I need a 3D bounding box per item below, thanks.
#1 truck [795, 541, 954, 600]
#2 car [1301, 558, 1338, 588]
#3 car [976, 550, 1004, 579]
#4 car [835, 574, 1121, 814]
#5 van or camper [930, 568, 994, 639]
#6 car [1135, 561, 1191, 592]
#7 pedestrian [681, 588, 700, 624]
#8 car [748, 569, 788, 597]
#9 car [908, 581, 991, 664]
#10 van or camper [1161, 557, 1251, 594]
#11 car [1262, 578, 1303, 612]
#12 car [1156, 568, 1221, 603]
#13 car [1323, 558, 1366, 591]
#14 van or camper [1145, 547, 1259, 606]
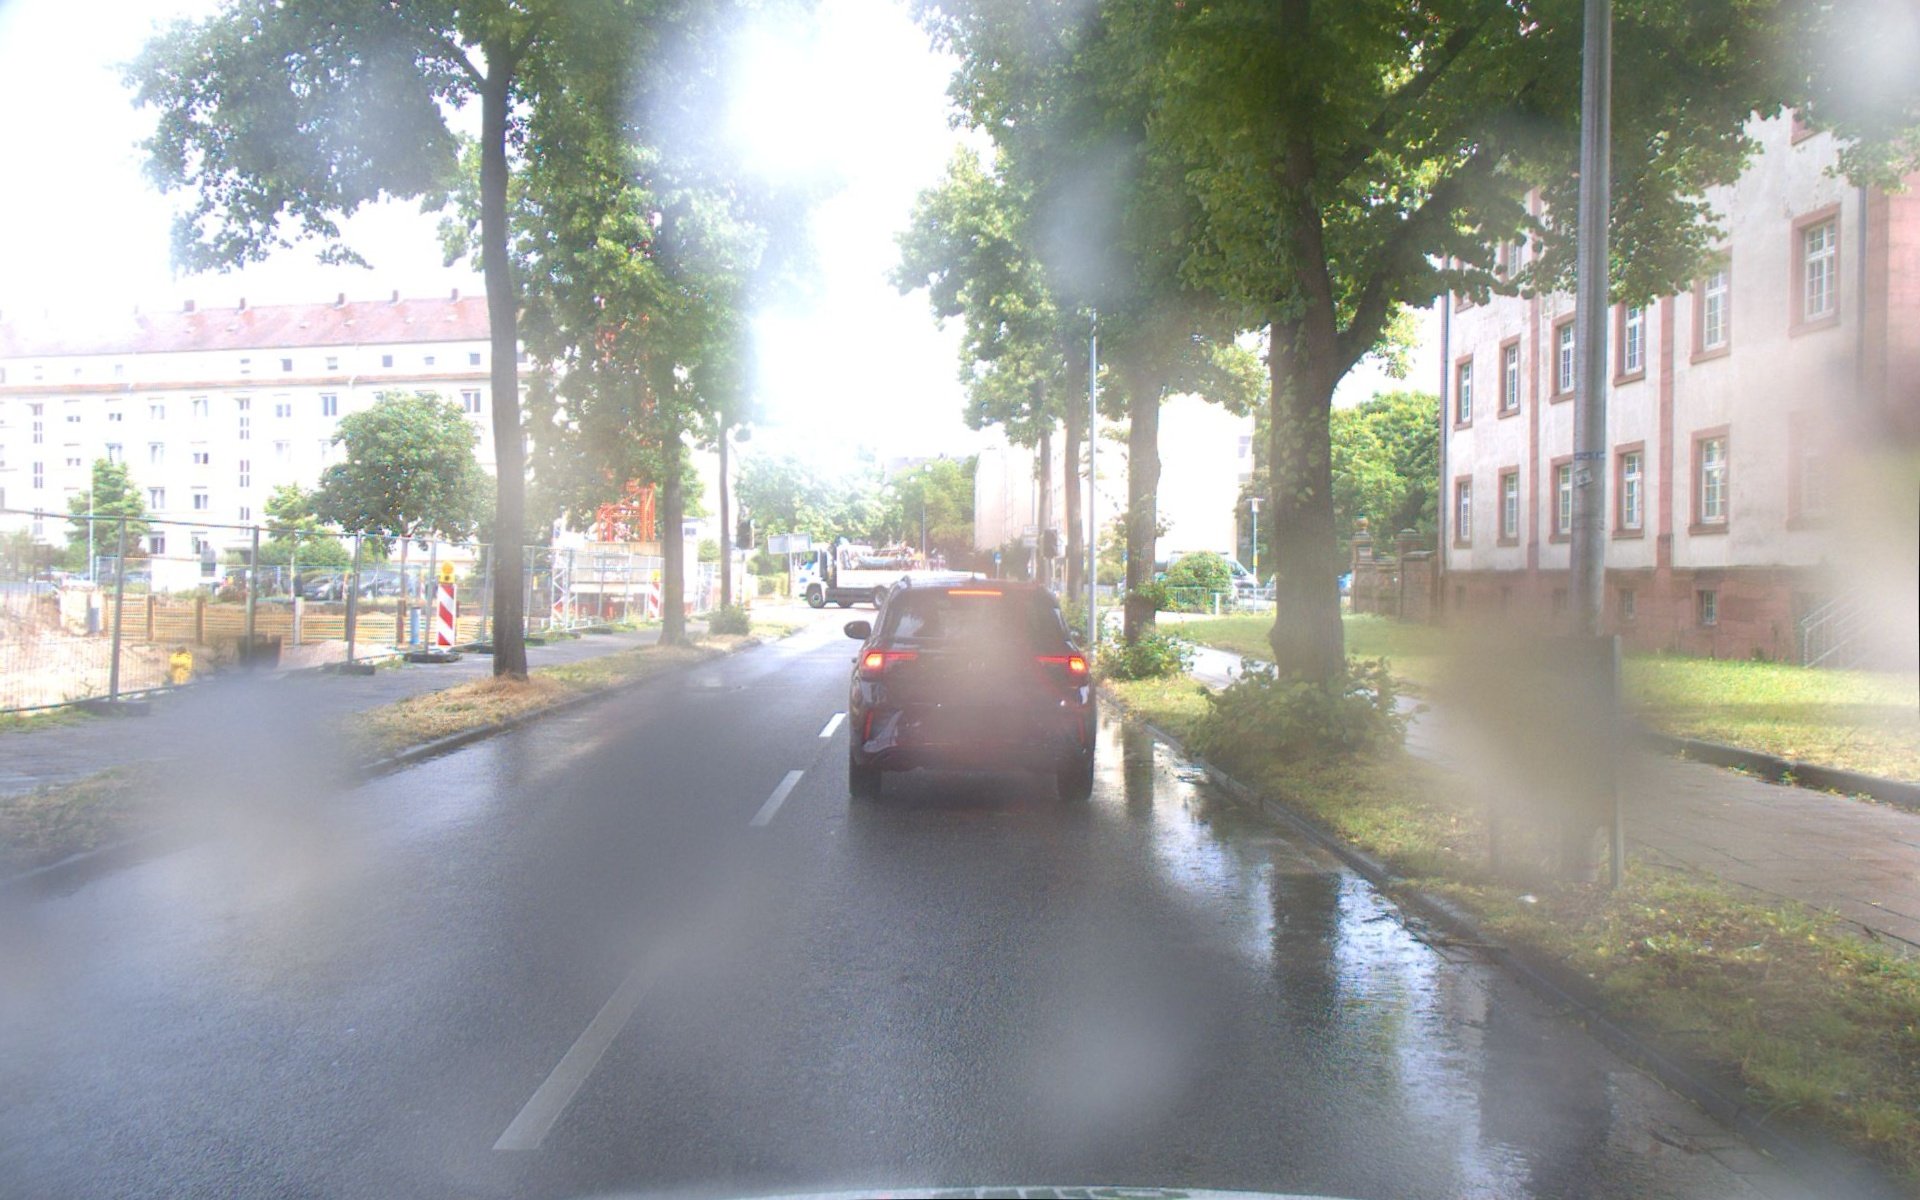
[{"bbox_3d":[-4.212,-1.471,80.242,8.093,2.702,2.798,2,2,42],"label":"truck"},{"bbox_3d":[24.165,-1.811,111.320,1.828,1.889,3.812,-3,1,3],"label":"car"},{"bbox_3d":[2.166,-2.602,121.857,1.953,2.049,3.999,0,0,-1],"label":"car"},{"bbox_3d":[0.088,0.589,12.860,1.856,1.549,3.999,1,1,-1],"label":"car"},{"bbox_3d":[0.100,0.065,49.040,1.782,1.981,4.195,1,1,1],"label":"van or camper"},{"bbox_3d":[12.752,-1.468,103.765,3.334,1.812,1.761,-3,0,8],"label":"car"},{"bbox_3d":[-11.511,0.268,70.646,0.652,1.511,0.667,0,1,-25],"label":"pedestrian"},{"bbox_3d":[-11.567,-1.042,99.812,1.557,1.538,3.734,-3,1,5],"label":"car"},{"bbox_3d":[-0.193,0.490,37.816,1.645,1.738,3.911,-2,0,2],"label":"car"},{"bbox_3d":[13.913,-1.406,93.849,4.775,1.959,2.131,1,1,0],"label":"van or camper"},{"bbox_3d":[17.461,-0.291,89.658,1.706,1.713,3.873,-3,1,5],"label":"car"},{"bbox_3d":[12.193,-0.768,88.443,3.335,1.812,1.761,-1,1,6],"label":"car"},{"bbox_3d":[25.192,-1.650,108.477,1.952,2.048,4.002,-3,1,3],"label":"car"},{"bbox_3d":[11.122,-1.093,76.233,4.931,2.641,2.167,0,0,-2],"label":"van or camper"}]
